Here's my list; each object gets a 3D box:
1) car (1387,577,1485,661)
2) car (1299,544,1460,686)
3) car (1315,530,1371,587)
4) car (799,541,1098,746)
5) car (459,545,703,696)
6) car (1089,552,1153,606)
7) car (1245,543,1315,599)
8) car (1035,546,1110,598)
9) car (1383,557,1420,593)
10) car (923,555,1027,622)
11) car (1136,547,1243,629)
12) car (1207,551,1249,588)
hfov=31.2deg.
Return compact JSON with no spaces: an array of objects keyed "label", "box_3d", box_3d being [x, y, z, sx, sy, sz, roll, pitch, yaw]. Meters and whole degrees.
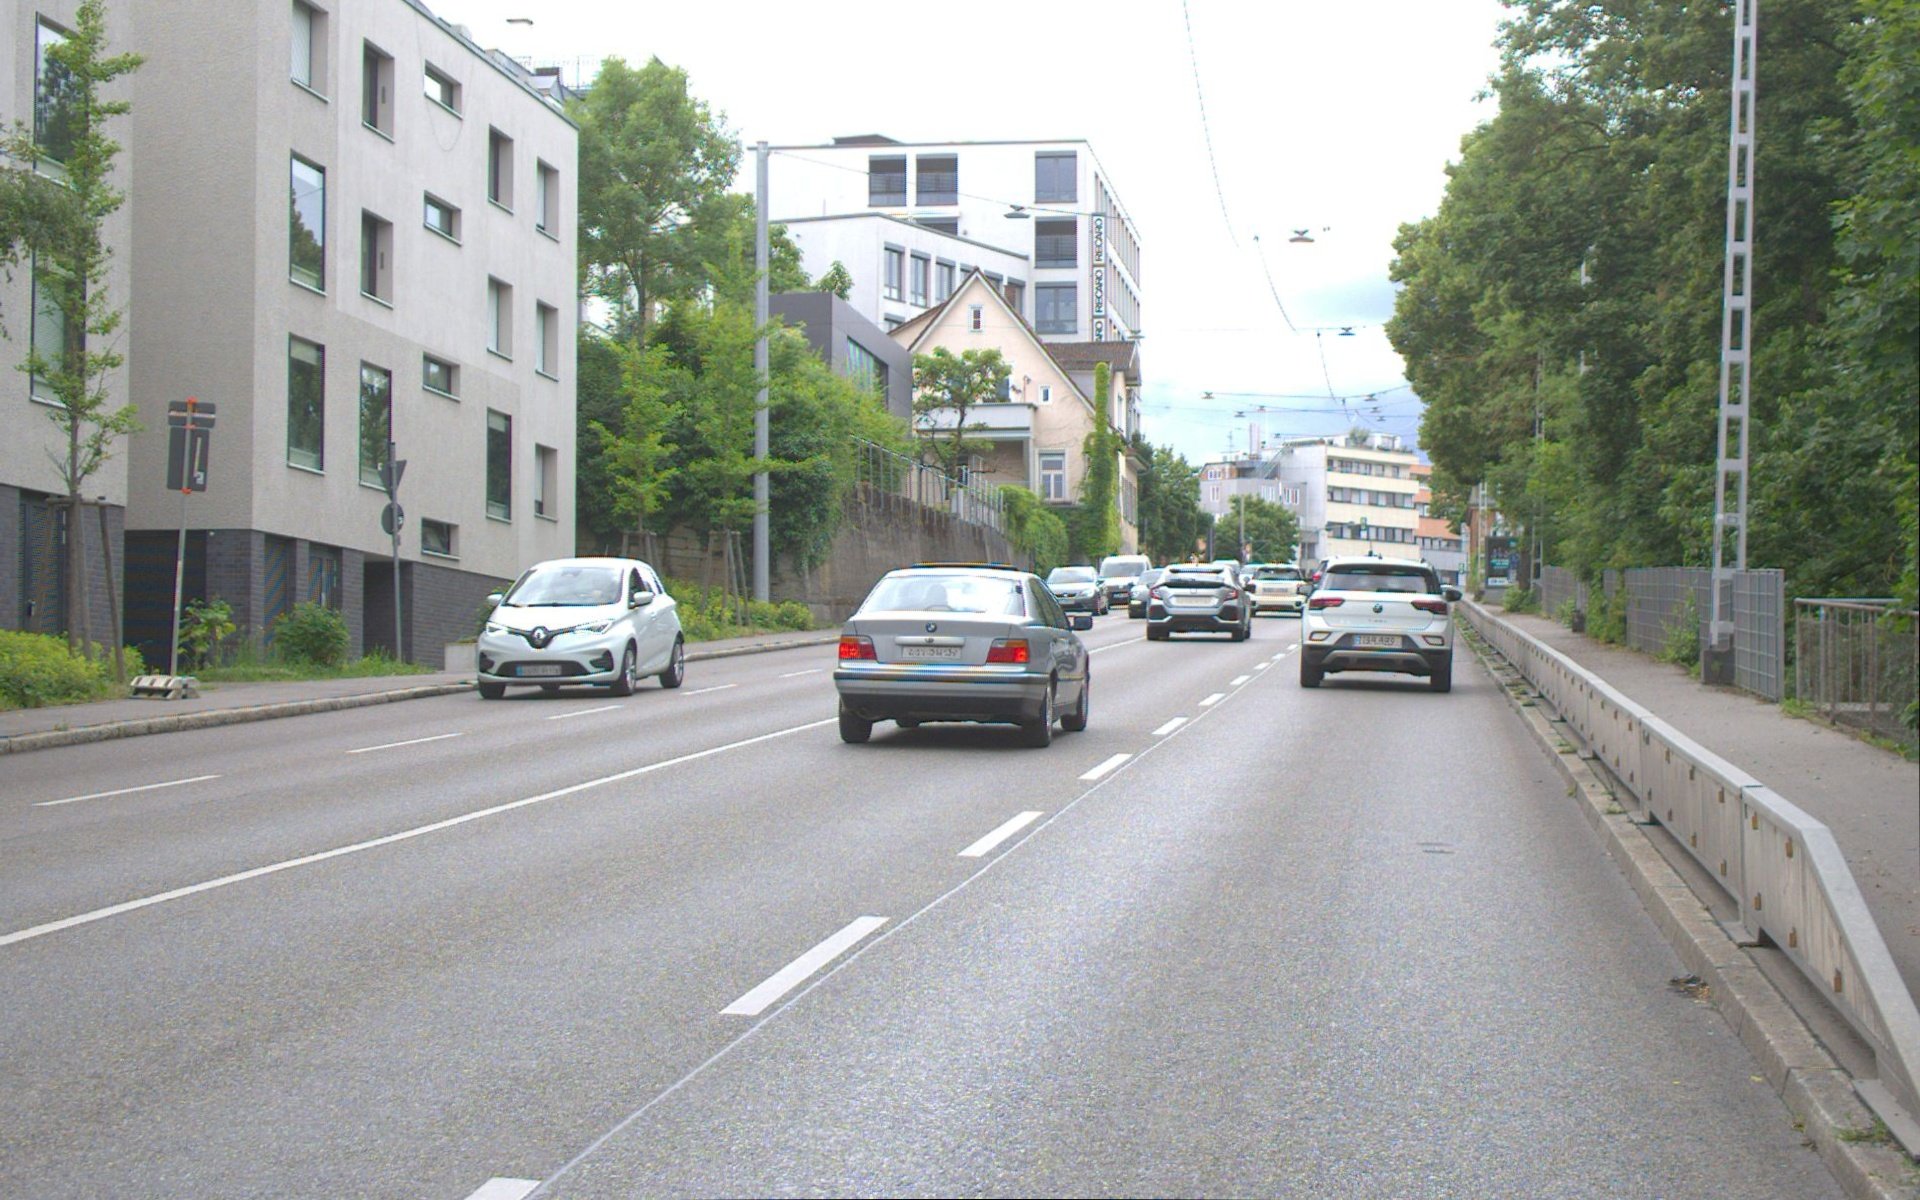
[{"label":"car","box_3d":[9.075,0.361,65.623,1.707,1.459,3.999,3,0,8]},{"label":"car","box_3d":[5.034,0.153,41.346,1.780,1.573,3.999,2,1,7]},{"label":"car","box_3d":[12.347,-1.319,110.775,1.657,1.759,3.286,2,1,8]},{"label":"car","box_3d":[-0.010,0.324,27.379,1.707,1.459,3.998,2,0,9]},{"label":"car","box_3d":[-4.285,0.195,39.507,1.745,1.608,4.055,-1,1,9]},{"label":"car","box_3d":[5.502,-0.735,116.783,1.733,1.782,4.865,-1,1,8]},{"label":"car","box_3d":[8.611,-0.784,92.321,1.707,1.459,3.999,1,1,8]},{"label":"car","box_3d":[3.323,-0.836,100.623,1.733,1.459,4.422,-1,1,8]},{"label":"car","box_3d":[25.643,-1.437,199.459,1.994,2.007,3.999,2,1,8]},{"label":"car","box_3d":[0.363,-0.274,76.745,1.774,1.459,4.190,0,1,8]},{"label":"car","box_3d":[4.308,-0.245,64.191,1.707,1.459,3.999,1,1,8]},{"label":"car","box_3d":[13.839,-1.586,177.403,1.817,1.778,4.494,3,1,8]}]
